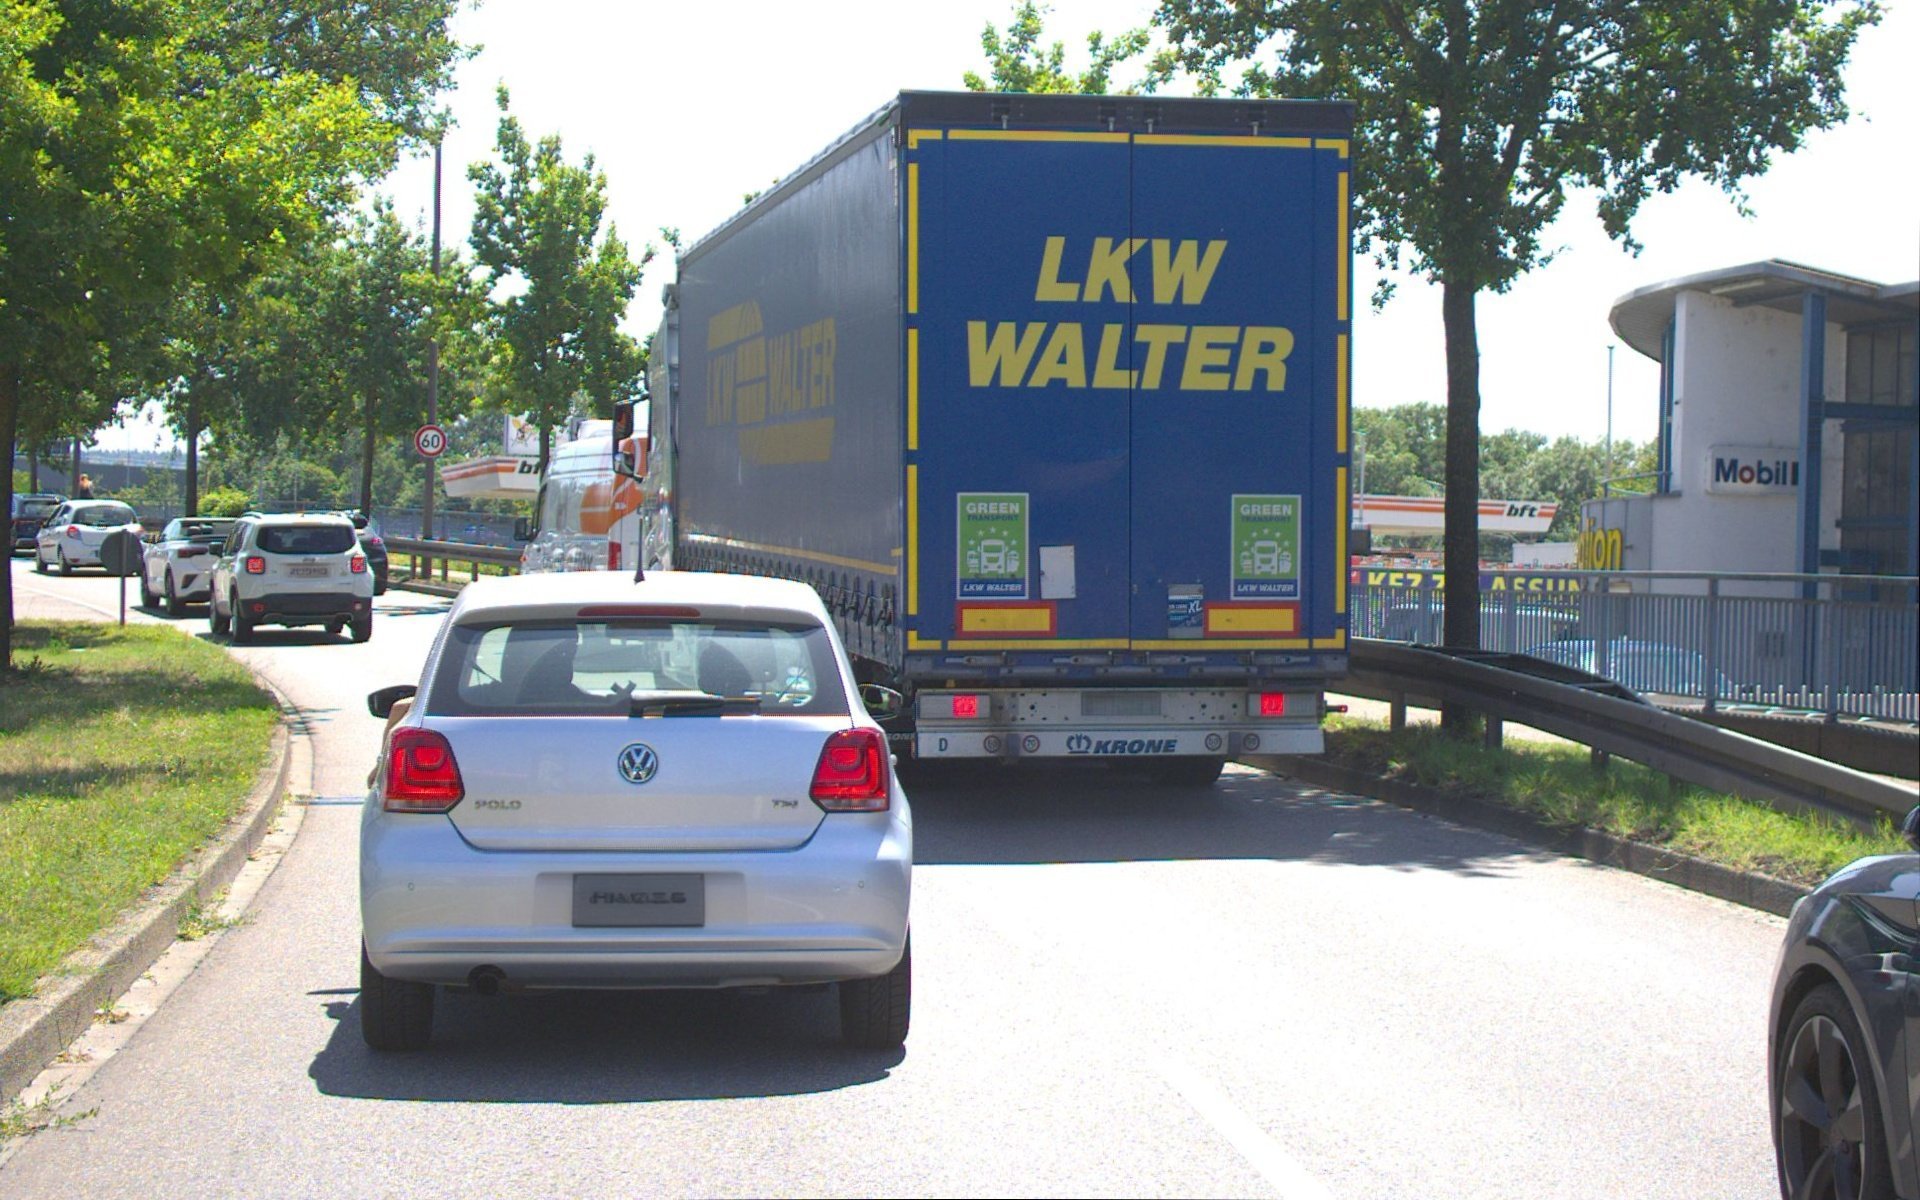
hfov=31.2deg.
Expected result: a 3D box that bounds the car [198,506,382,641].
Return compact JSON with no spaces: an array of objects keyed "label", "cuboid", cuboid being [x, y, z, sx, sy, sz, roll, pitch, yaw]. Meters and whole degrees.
[{"label":"car","cuboid":[-9.054,-0.362,46.236,1.903,1.712,4.225,1,0,-18]}]

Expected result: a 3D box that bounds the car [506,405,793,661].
[{"label":"car","cuboid":[-3.957,-0.891,42.529,2.175,2.890,6.360,1,2,-17]}]

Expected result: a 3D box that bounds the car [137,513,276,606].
[{"label":"car","cuboid":[-11.710,-0.643,53.276,1.494,1.355,3.664,1,1,-22]}]

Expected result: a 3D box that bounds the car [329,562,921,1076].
[{"label":"car","cuboid":[-1.039,0.611,11.509,1.646,1.434,3.537,1,0,-3]}]

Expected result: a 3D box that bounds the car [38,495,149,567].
[{"label":"car","cuboid":[-17.224,-1.387,68.236,1.607,1.355,3.664,1,1,-22]}]

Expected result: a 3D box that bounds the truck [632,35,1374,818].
[{"label":"truck","cuboid":[-0.519,-1.096,26.813,2.832,4.184,16.479,1,1,-9]}]

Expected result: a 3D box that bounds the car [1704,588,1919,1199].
[{"label":"car","cuboid":[2.683,0.730,5.523,1.604,1.451,4.236,1,0,-7]}]
